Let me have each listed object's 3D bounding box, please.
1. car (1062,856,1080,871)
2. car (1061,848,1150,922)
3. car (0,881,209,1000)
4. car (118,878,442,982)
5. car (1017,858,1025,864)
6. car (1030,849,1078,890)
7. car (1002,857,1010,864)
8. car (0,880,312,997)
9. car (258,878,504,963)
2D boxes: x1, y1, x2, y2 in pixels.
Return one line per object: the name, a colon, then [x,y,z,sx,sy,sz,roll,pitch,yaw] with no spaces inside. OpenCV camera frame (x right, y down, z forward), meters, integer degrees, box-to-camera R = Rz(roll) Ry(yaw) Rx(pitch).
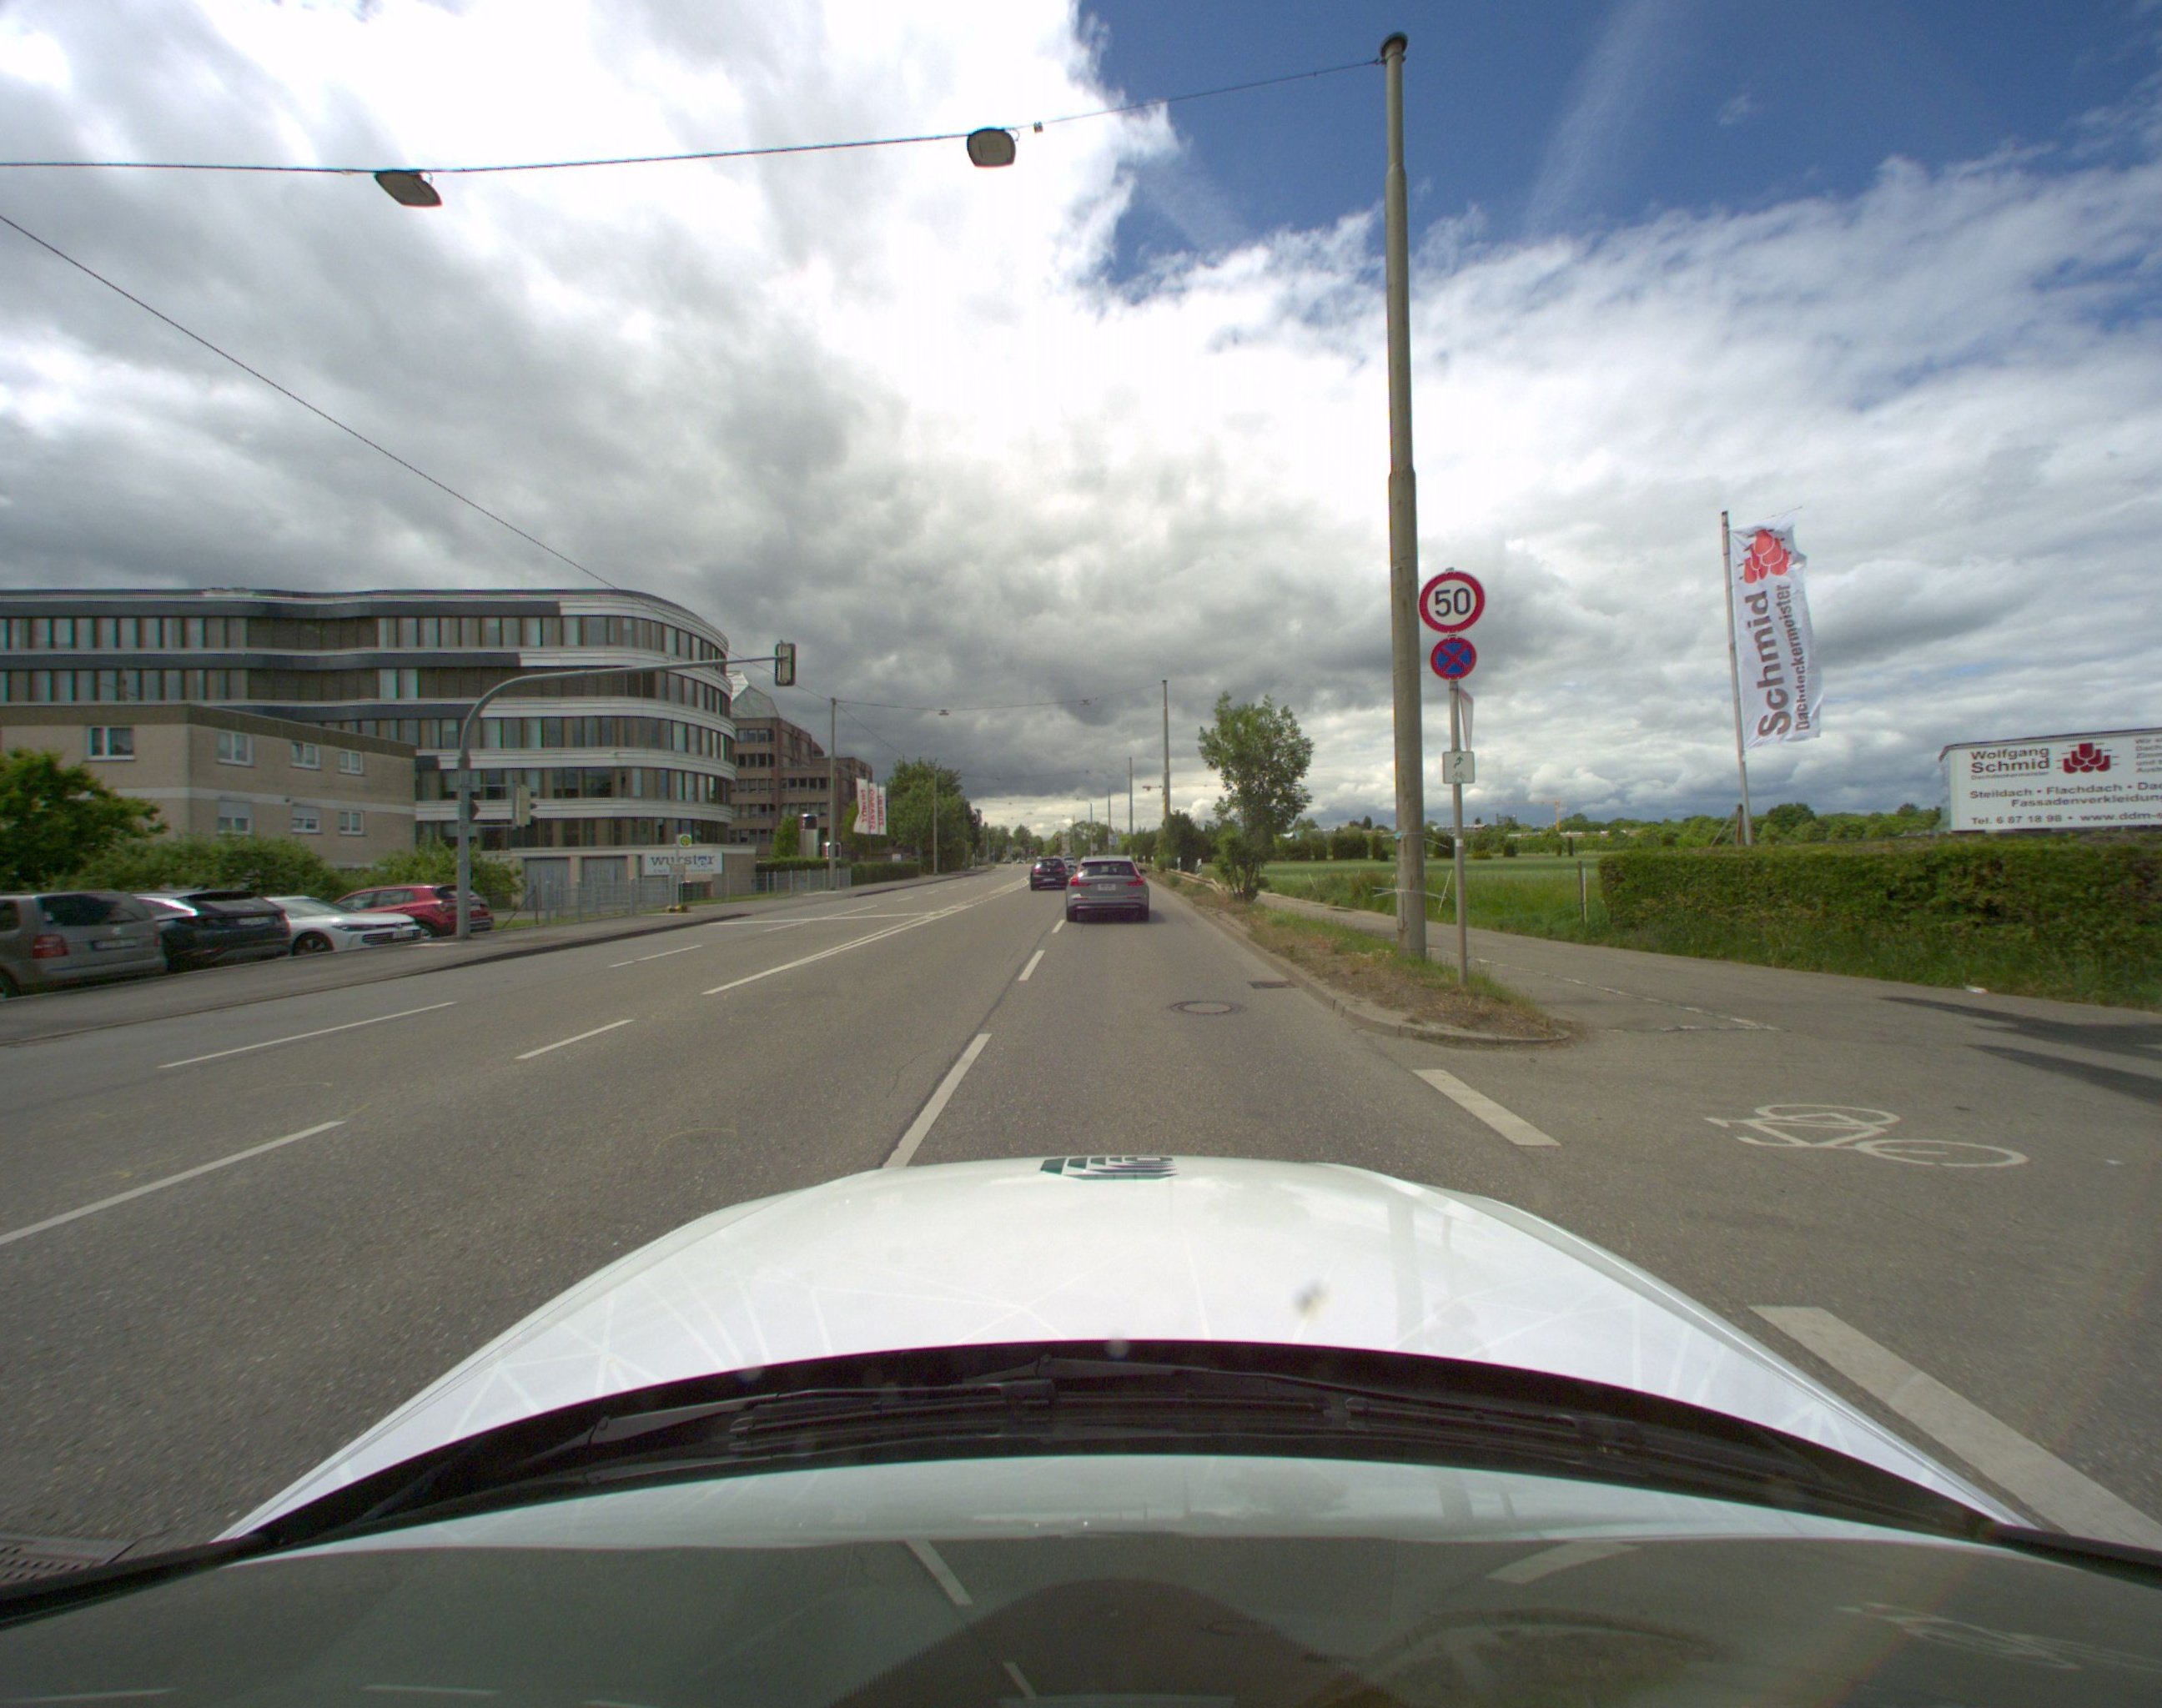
car: [-1.134,1.112,94.684,1.987,1.695,4.000,1,-1,1]
car: [0.610,0.687,19.317,1.888,1.554,4.002,1,-1,2]
car: [-15.541,1.366,11.449,4.088,1.397,1.904,-7,1,-6]
car: [-15.842,1.450,16.340,4.217,1.387,1.981,-7,-1,-5]
car: [-15.392,1.850,208.811,1.876,1.520,3.999,1,-1,0]
car: [-1.174,0.705,36.538,1.988,1.717,3.998,1,-1,-1]
car: [-19.365,1.740,210.760,1.876,1.717,3.999,1,-1,0]
car: [-16.074,1.425,13.889,3.976,1.424,1.854,-7,-1,-1]
car: [-16.216,1.512,19.040,3.976,1.369,1.847,-7,-1,-1]
